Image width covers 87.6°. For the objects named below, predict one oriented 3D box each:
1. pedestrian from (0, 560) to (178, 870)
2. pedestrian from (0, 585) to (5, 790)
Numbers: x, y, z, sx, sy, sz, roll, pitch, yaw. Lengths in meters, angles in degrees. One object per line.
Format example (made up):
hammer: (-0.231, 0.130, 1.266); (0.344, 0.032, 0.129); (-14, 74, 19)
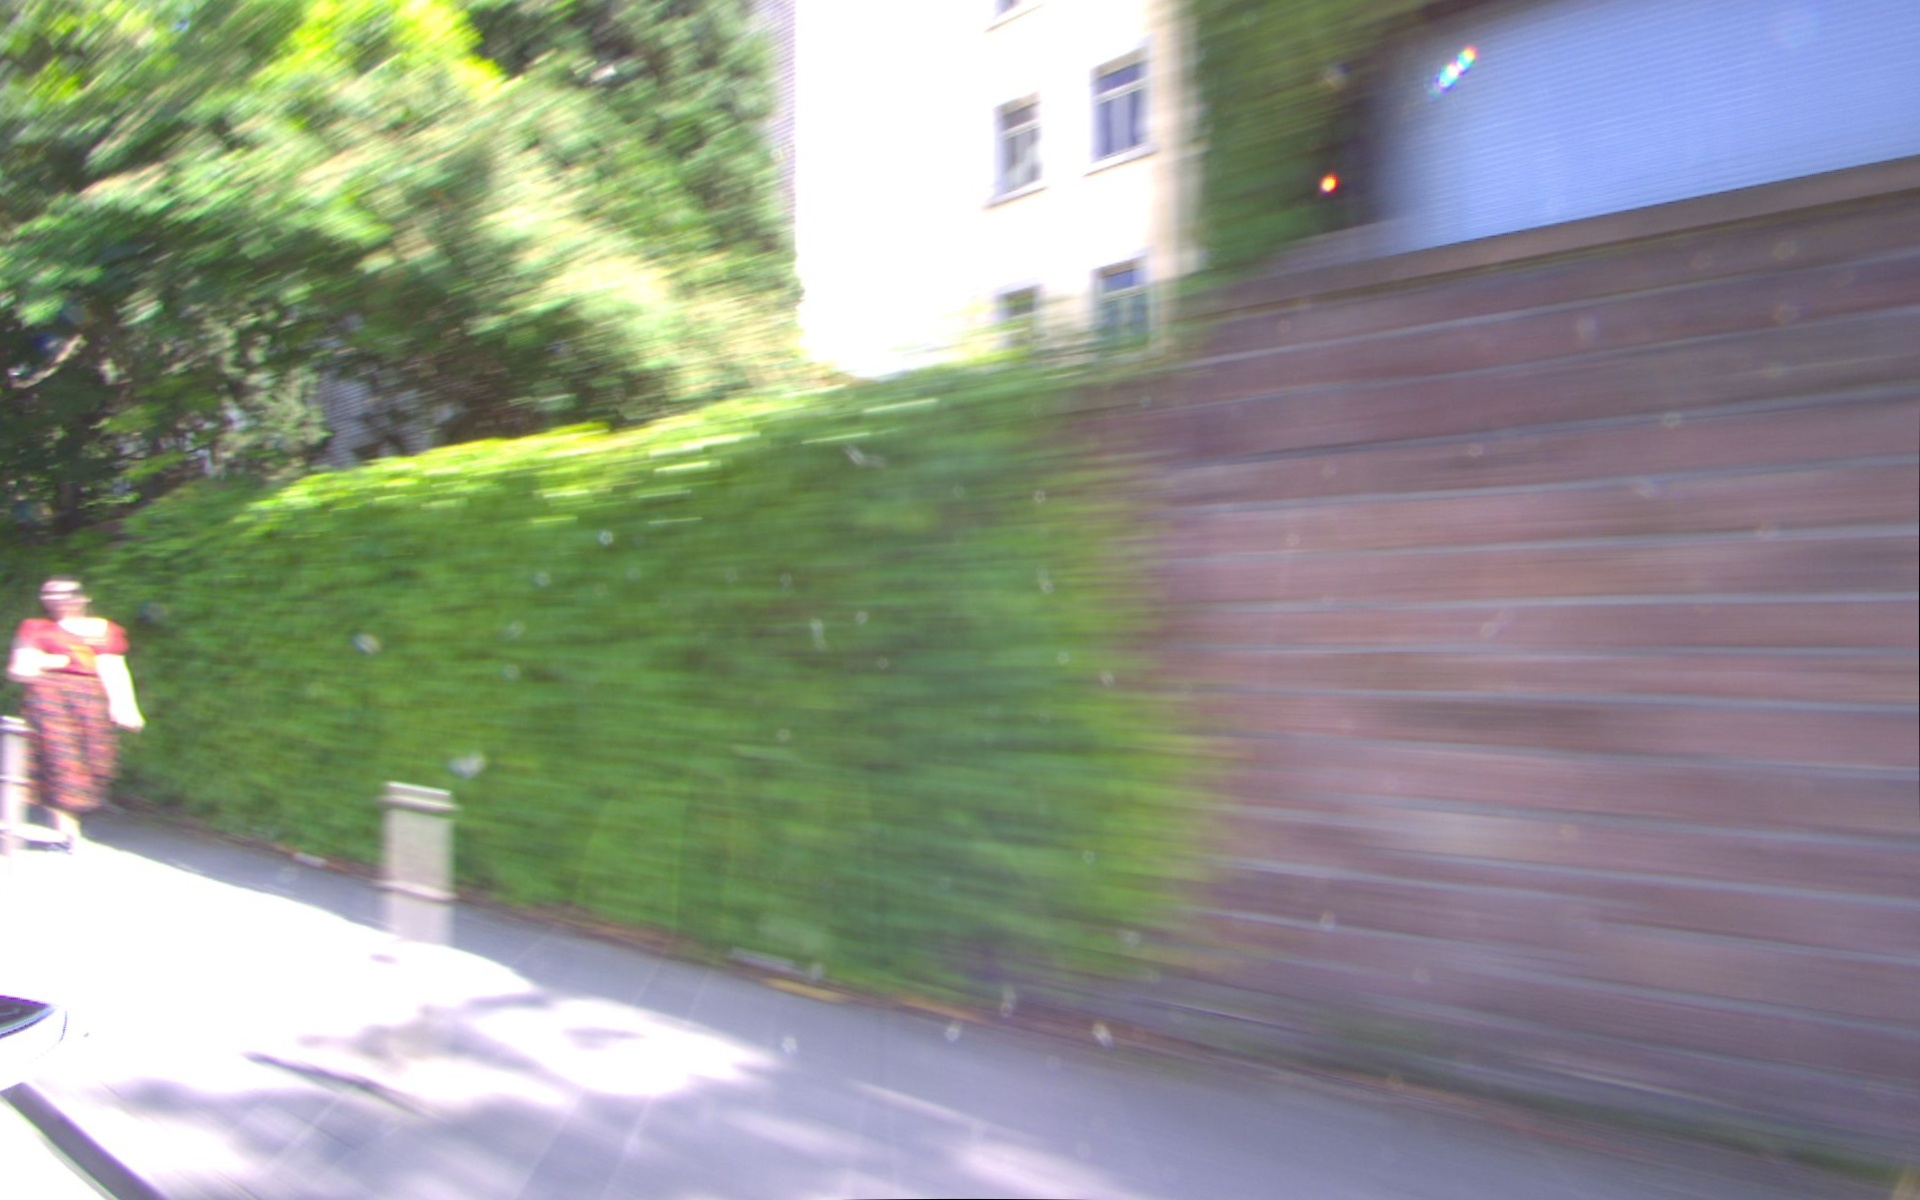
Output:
pedestrian: (-5.471, 0.666, 6.230); (0.900, 1.765, 0.679); (0, -1, 33)
pedestrian: (-8.299, 0.695, 8.019); (0.907, 1.655, 0.734); (0, -1, 33)
